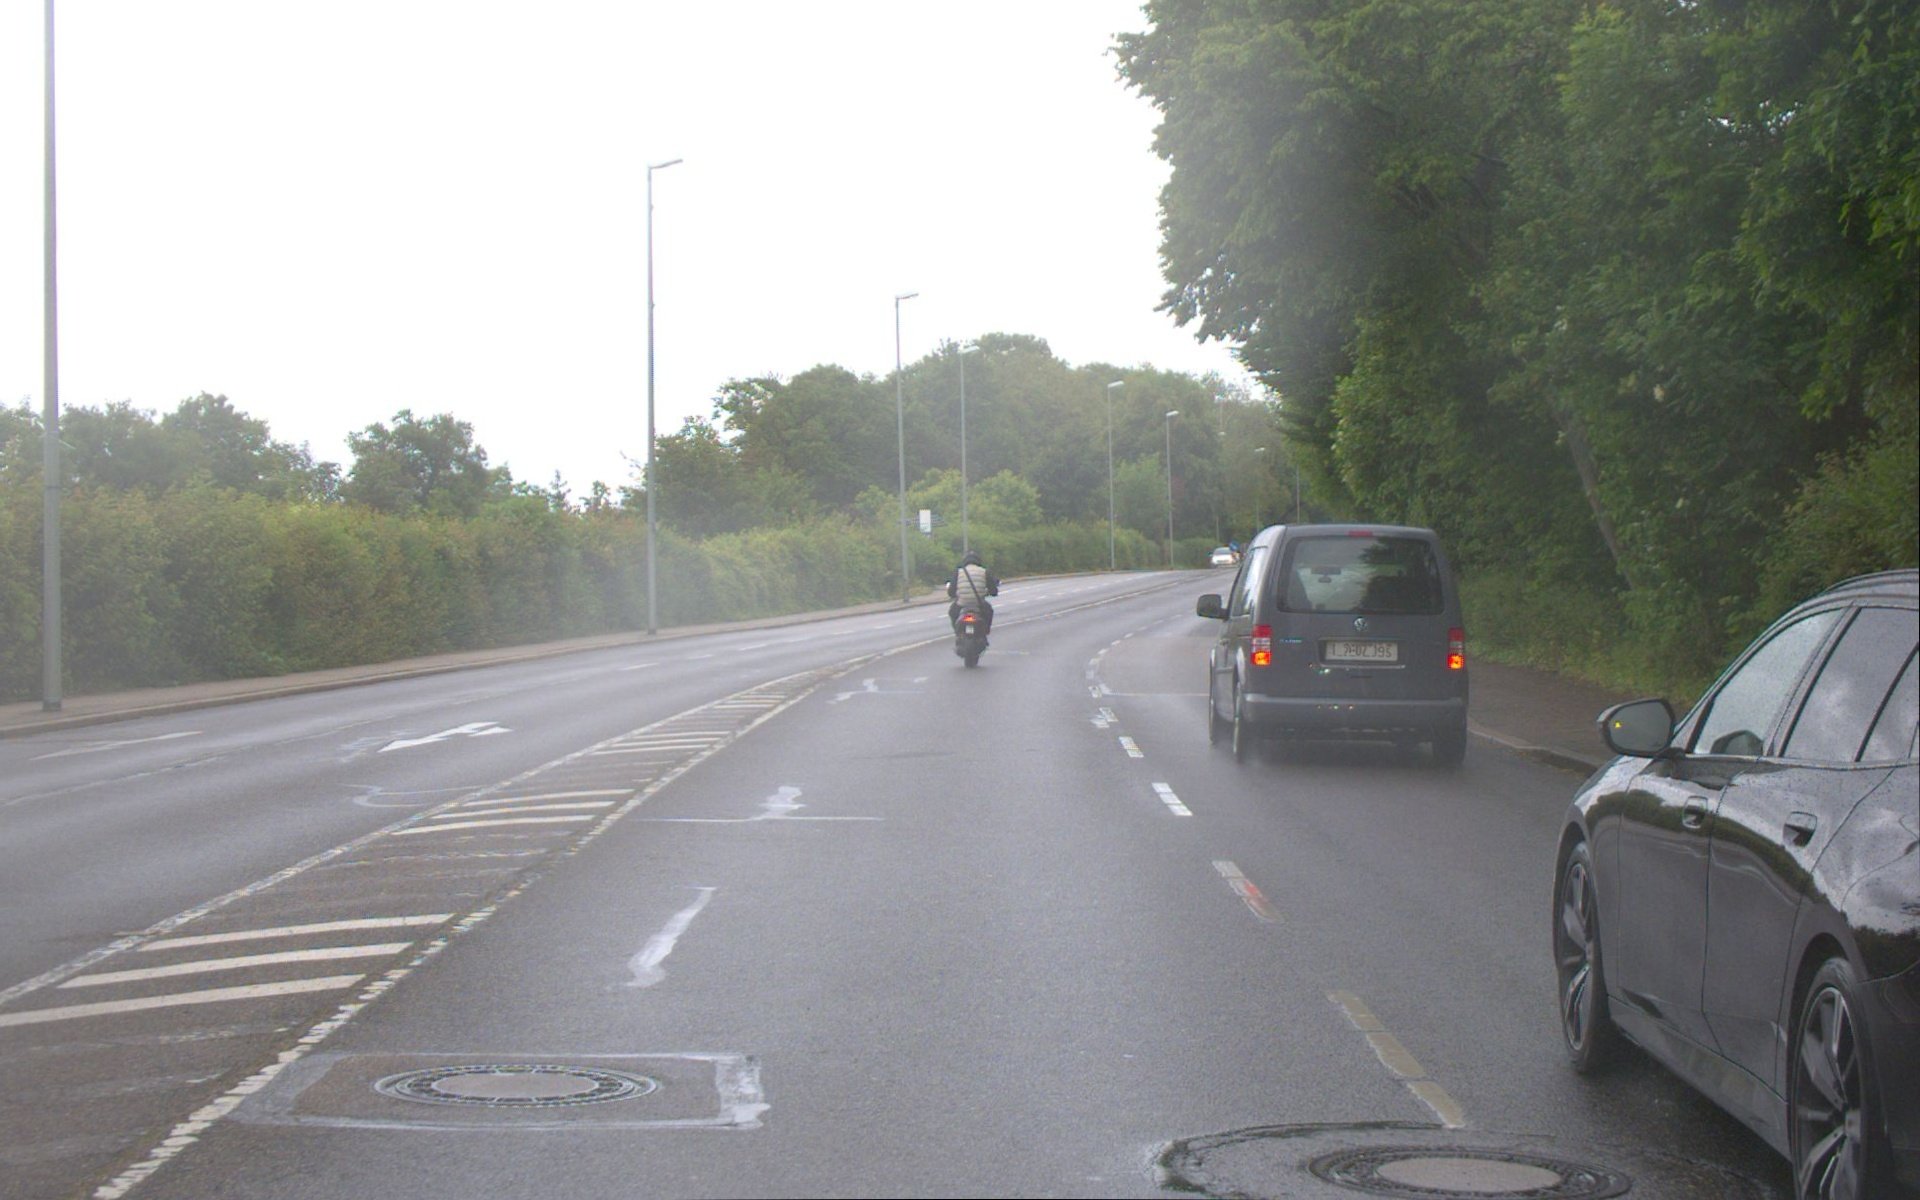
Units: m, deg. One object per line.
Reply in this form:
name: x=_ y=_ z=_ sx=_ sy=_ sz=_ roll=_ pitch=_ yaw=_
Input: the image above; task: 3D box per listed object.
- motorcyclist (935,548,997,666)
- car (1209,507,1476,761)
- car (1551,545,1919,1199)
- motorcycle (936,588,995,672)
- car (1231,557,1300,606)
motorcyclist: x=0.092 y=0.097 z=48.340 sx=0.845 sy=1.641 sz=0.468 roll=0 pitch=2 yaw=3
car: x=2.946 y=0.199 z=27.179 sx=1.767 sy=1.803 sz=3.905 roll=0 pitch=2 yaw=2
car: x=2.598 y=0.677 z=7.819 sx=1.764 sy=1.531 sz=3.673 roll=2 pitch=0 yaw=-1
motorcycle: x=0.086 y=0.417 z=48.529 sx=0.741 sy=1.115 sz=1.426 roll=1 pitch=2 yaw=3
car: x=9.850 y=-0.609 z=110.629 sx=2.015 sy=1.410 sz=4.485 roll=1 pitch=2 yaw=8
